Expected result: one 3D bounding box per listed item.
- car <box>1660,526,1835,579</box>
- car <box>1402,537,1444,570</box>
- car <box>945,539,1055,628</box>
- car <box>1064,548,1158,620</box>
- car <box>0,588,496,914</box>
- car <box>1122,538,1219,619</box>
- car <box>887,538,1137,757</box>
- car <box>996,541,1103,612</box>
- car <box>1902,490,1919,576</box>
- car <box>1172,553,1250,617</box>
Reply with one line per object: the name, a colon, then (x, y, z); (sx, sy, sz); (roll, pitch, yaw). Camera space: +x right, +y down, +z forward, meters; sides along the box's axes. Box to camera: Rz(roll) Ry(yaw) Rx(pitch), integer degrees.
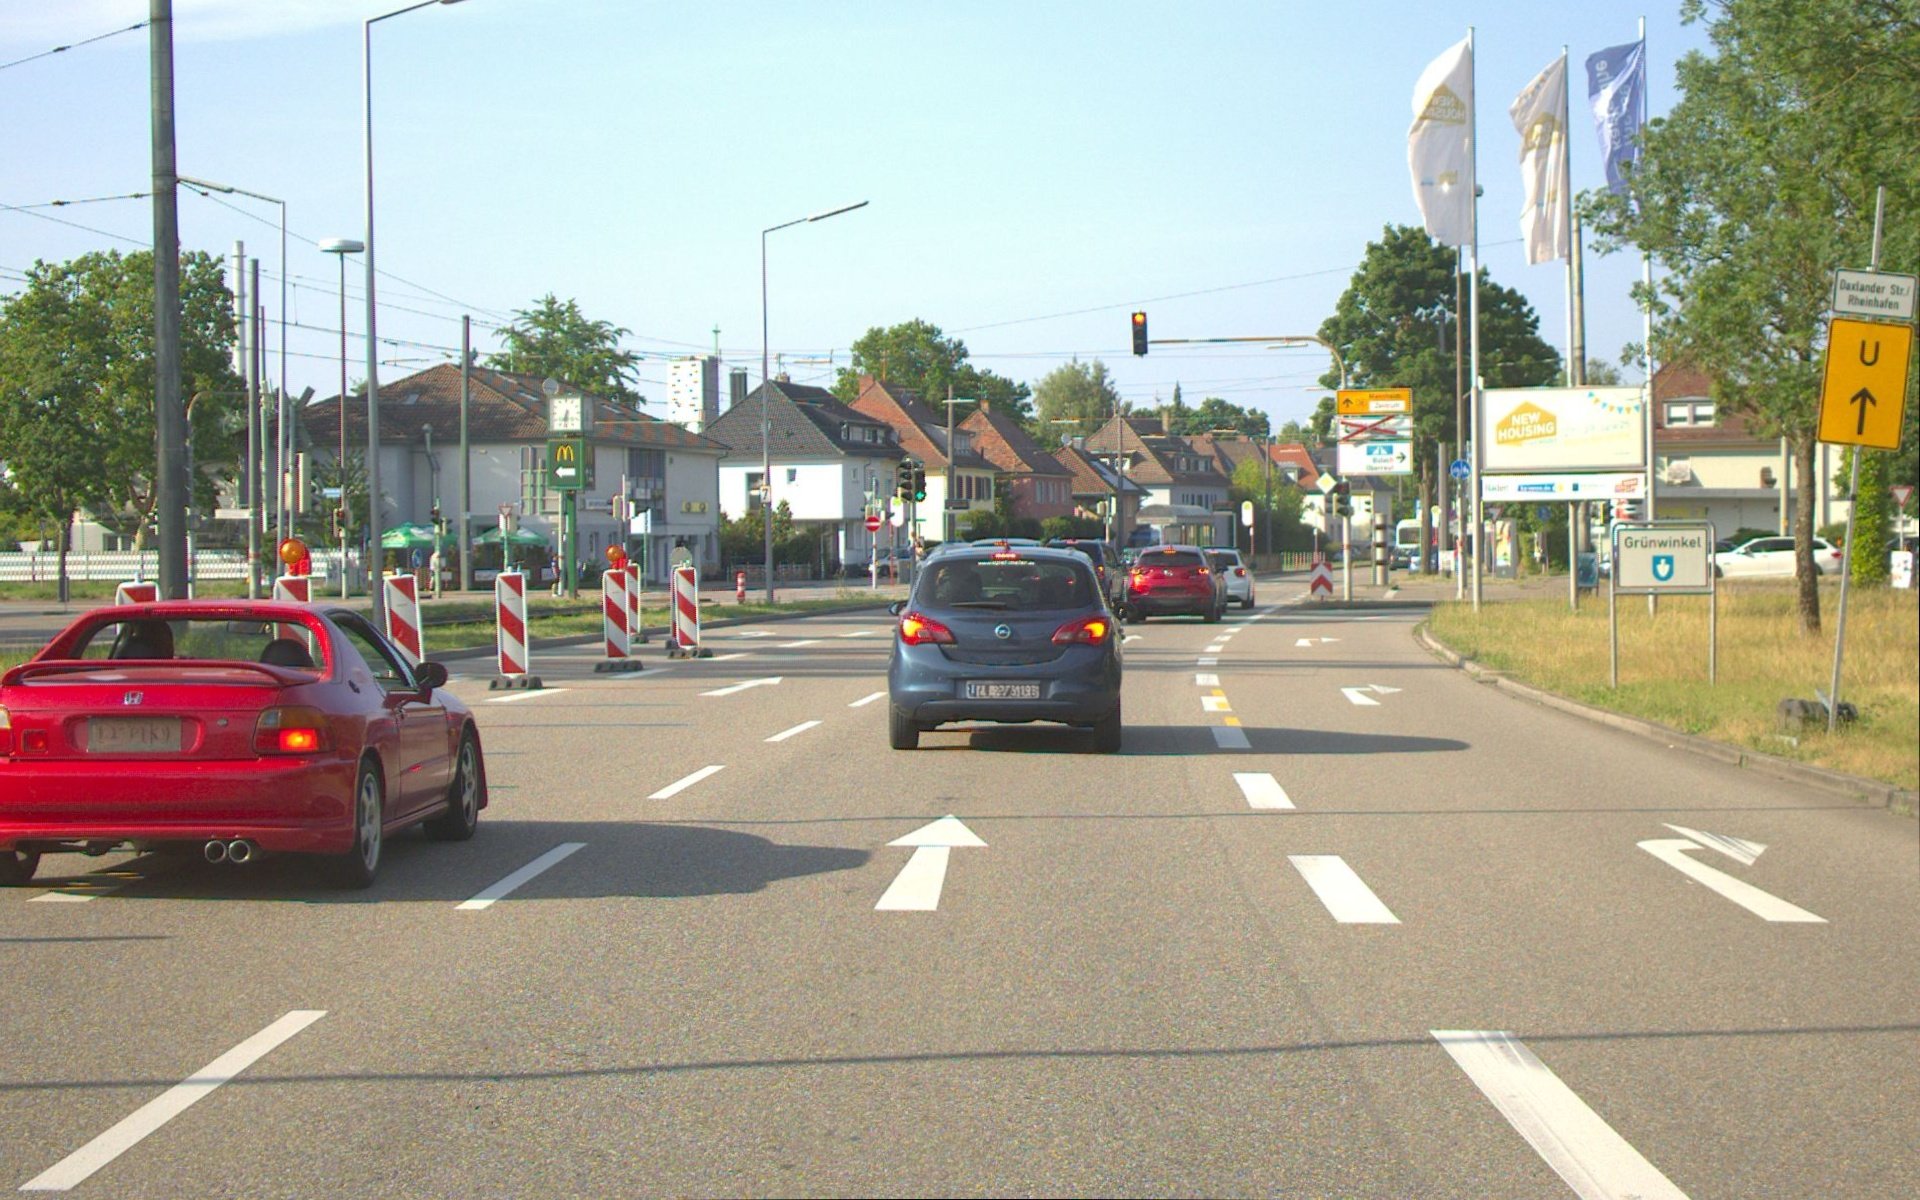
car: (23.992, -1.450, 104.926); (5.097, 1.557, 1.839); (-1, 1, 10)
car: (20.784, -2.072, 154.248); (1.675, 1.393, 3.998); (1, 0, 10)
car: (0.801, -0.353, 66.665); (1.764, 1.665, 4.083); (0, 1, 6)
car: (3.644, -0.411, 82.426); (1.507, 1.645, 4.742); (0, 1, 12)
car: (-3.306, 0.596, 15.696); (1.731, 1.202, 3.847); (1, 1, 2)
car: (4.215, -0.451, 68.292); (1.707, 1.546, 3.977); (-1, 1, 6)
car: (0.374, 0.297, 26.243); (1.741, 1.500, 4.223); (-1, 1, 0)
car: (1.985, -0.541, 75.114); (1.700, 1.503, 4.552); (0, 1, 10)
car: (31.740, -2.050, 103.673); (6.210, 2.575, 1.999); (0, 1, 10)
car: (6.001, -0.373, 81.811); (1.656, 1.438, 4.013); (-1, 1, 7)
